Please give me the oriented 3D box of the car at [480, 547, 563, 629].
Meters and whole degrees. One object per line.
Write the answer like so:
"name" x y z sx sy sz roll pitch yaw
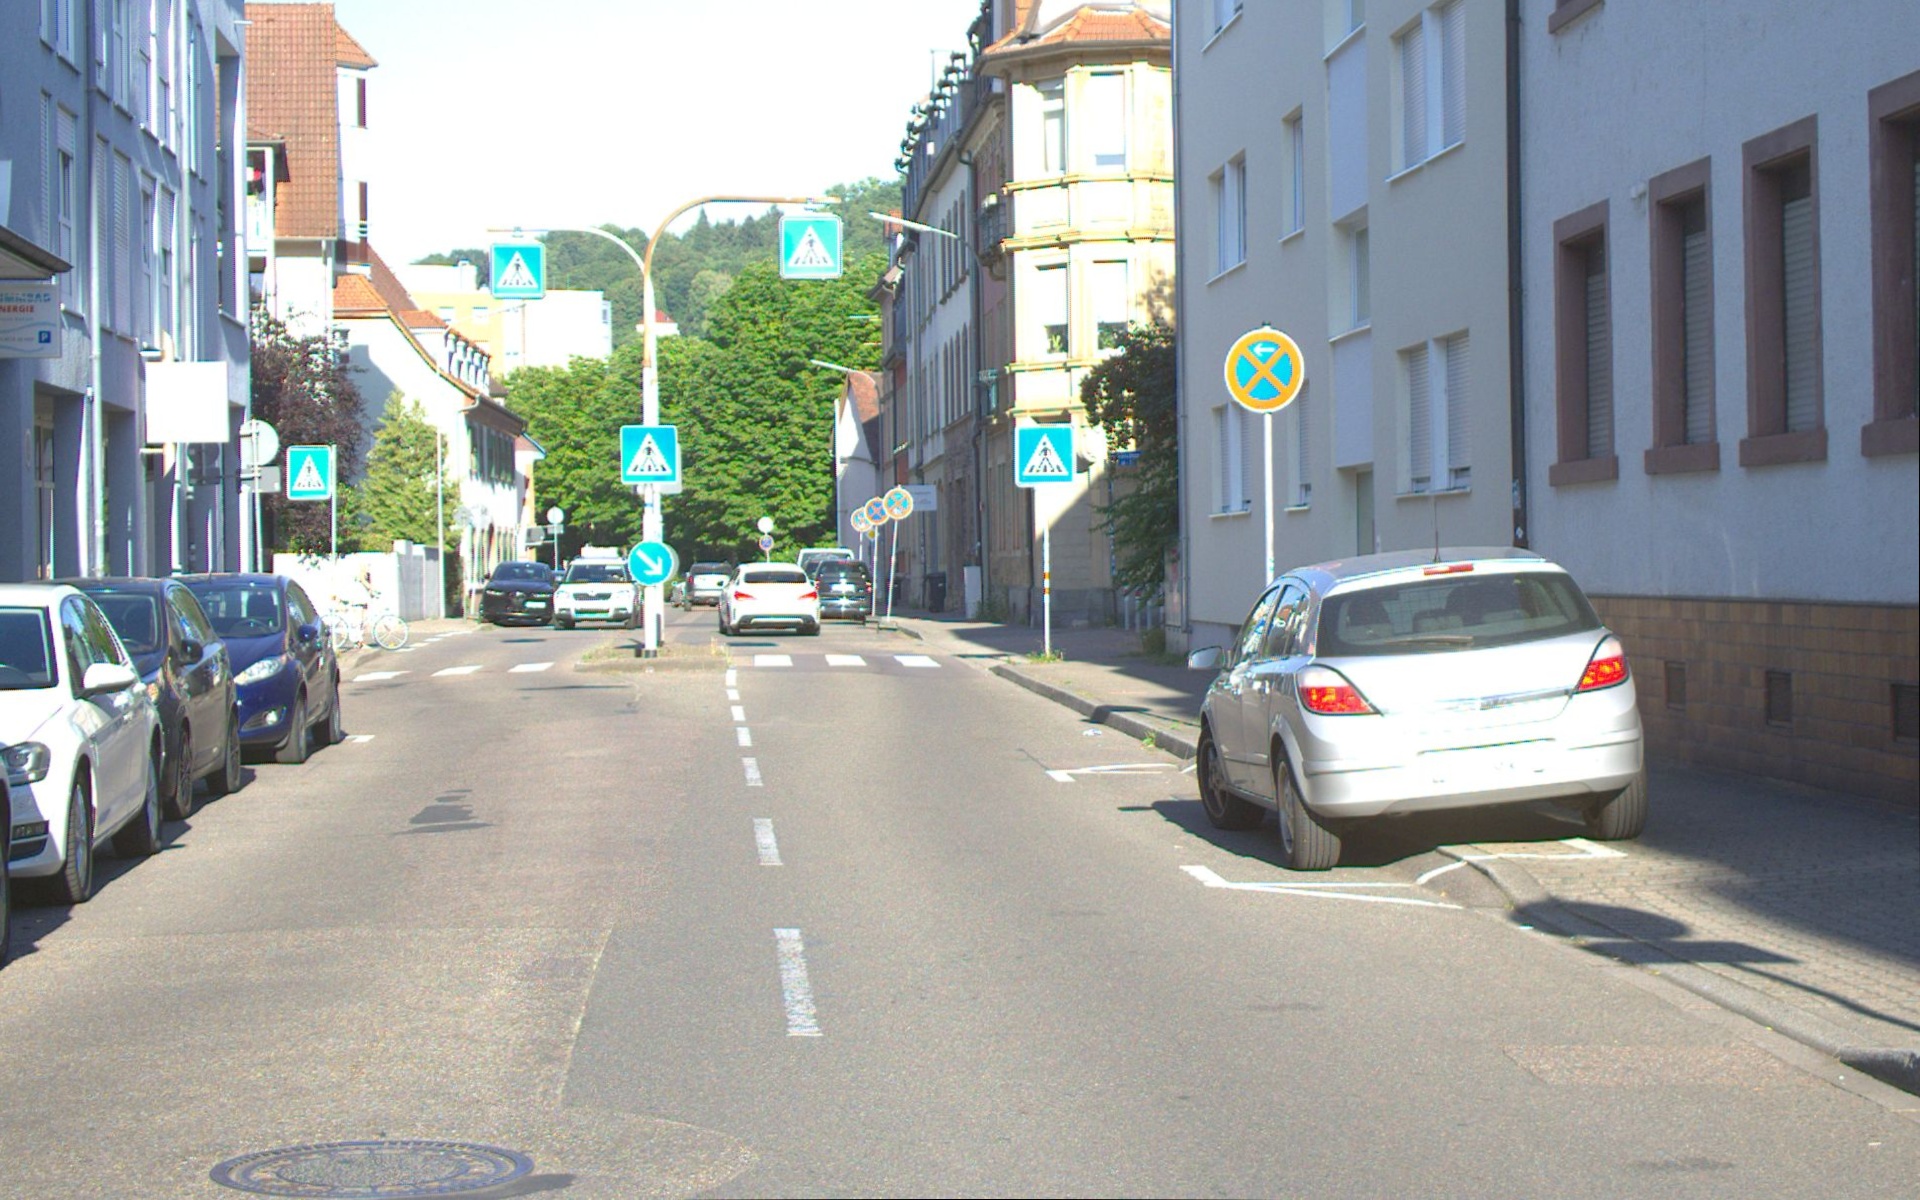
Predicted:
"car" -11.096 -0.327 87.241 1.993 2.007 4.001 -1 1 -6

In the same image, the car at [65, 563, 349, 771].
"car" -5.965 0.494 27.619 1.730 1.494 3.960 -2 0 -6

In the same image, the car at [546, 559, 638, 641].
"car" -8.347 -0.027 77.758 1.807 1.695 4.193 -3 1 -8

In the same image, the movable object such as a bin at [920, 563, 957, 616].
"movable object such as a bin" -0.582 -0.283 93.388 0.871 1.373 0.685 -3 2 -7

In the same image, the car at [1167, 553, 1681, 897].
"car" 2.252 0.537 17.883 1.741 1.487 4.439 -3 1 -4

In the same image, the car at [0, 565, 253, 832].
"car" -5.582 0.559 21.926 1.660 1.521 3.810 -1 1 -5

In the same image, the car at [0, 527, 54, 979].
"car" -4.336 0.583 11.241 1.993 1.642 5.223 -1 1 -8

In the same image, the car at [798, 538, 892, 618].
"car" -2.781 -0.541 82.382 2.010 1.846 4.001 0 1 -6

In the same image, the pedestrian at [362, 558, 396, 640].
"pedestrian" -10.488 -0.018 62.065 0.556 1.467 0.601 -2 1 -8

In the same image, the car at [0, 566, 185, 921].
"car" -4.966 0.641 16.798 1.764 1.490 4.127 -3 1 -6

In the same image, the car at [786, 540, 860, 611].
"car" -3.959 -0.725 98.704 1.840 1.899 4.001 -2 1 -5

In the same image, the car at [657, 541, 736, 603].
"car" -8.886 -0.959 115.774 1.993 2.007 4.001 -2 1 -14

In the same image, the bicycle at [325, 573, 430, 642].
"bicycle" -10.455 0.134 61.732 1.786 1.180 0.599 -1 1 -4

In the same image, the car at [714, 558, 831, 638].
"car" -3.676 -0.053 66.940 1.993 1.461 4.001 -1 1 -7
